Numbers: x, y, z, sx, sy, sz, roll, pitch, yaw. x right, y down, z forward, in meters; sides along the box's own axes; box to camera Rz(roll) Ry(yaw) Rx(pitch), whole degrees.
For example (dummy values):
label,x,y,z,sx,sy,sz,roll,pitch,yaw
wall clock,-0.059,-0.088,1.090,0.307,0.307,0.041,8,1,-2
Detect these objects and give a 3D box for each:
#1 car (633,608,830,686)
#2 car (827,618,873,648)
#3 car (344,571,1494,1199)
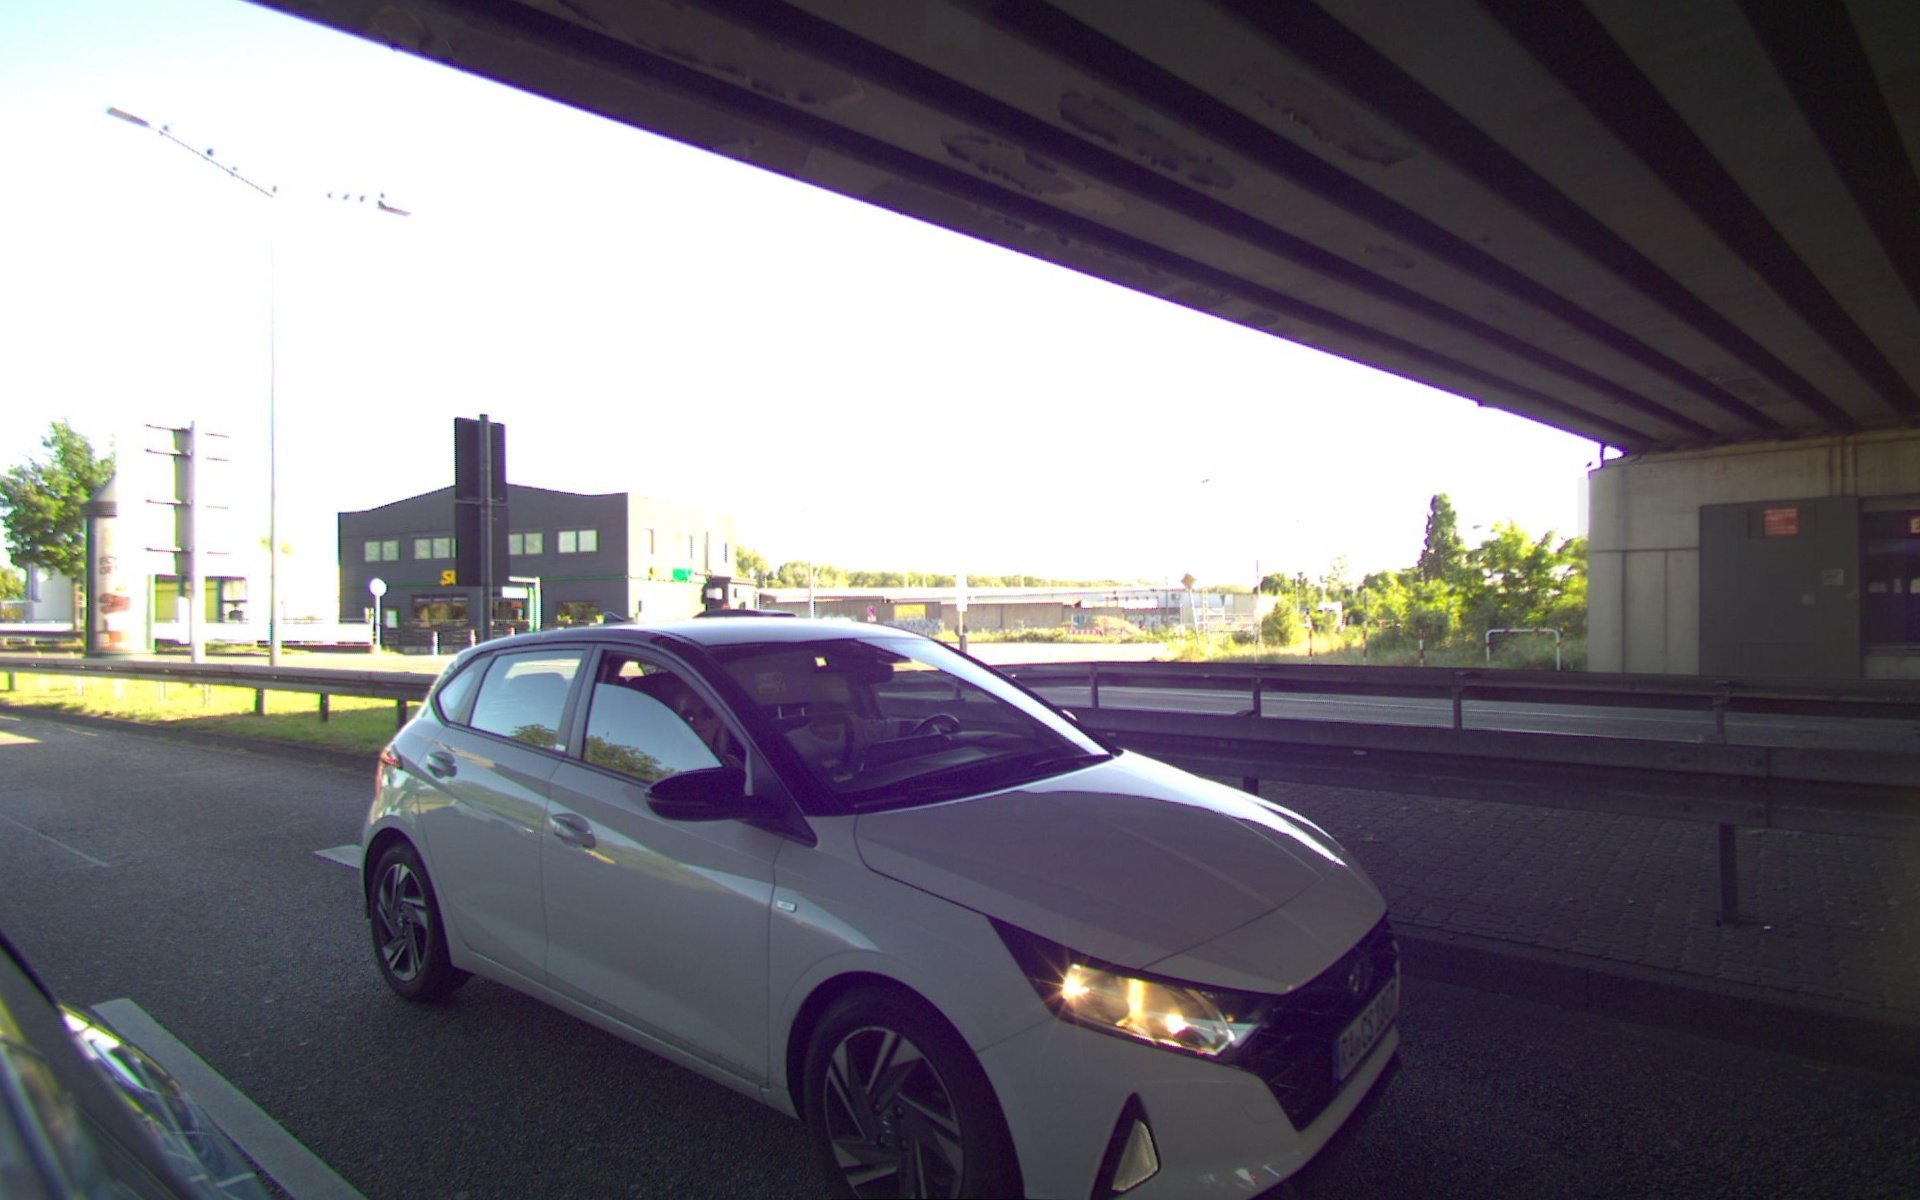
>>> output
label,x,y,z,sx,sy,sz,roll,pitch,yaw
car,-5.289,1.033,23.311,4.348,1.629,1.838,-1,0,31
car,-6.030,1.789,55.798,1.858,1.453,3.996,-1,0,3
car,-0.468,0.718,3.554,3.867,1.414,1.715,-2,-1,39
